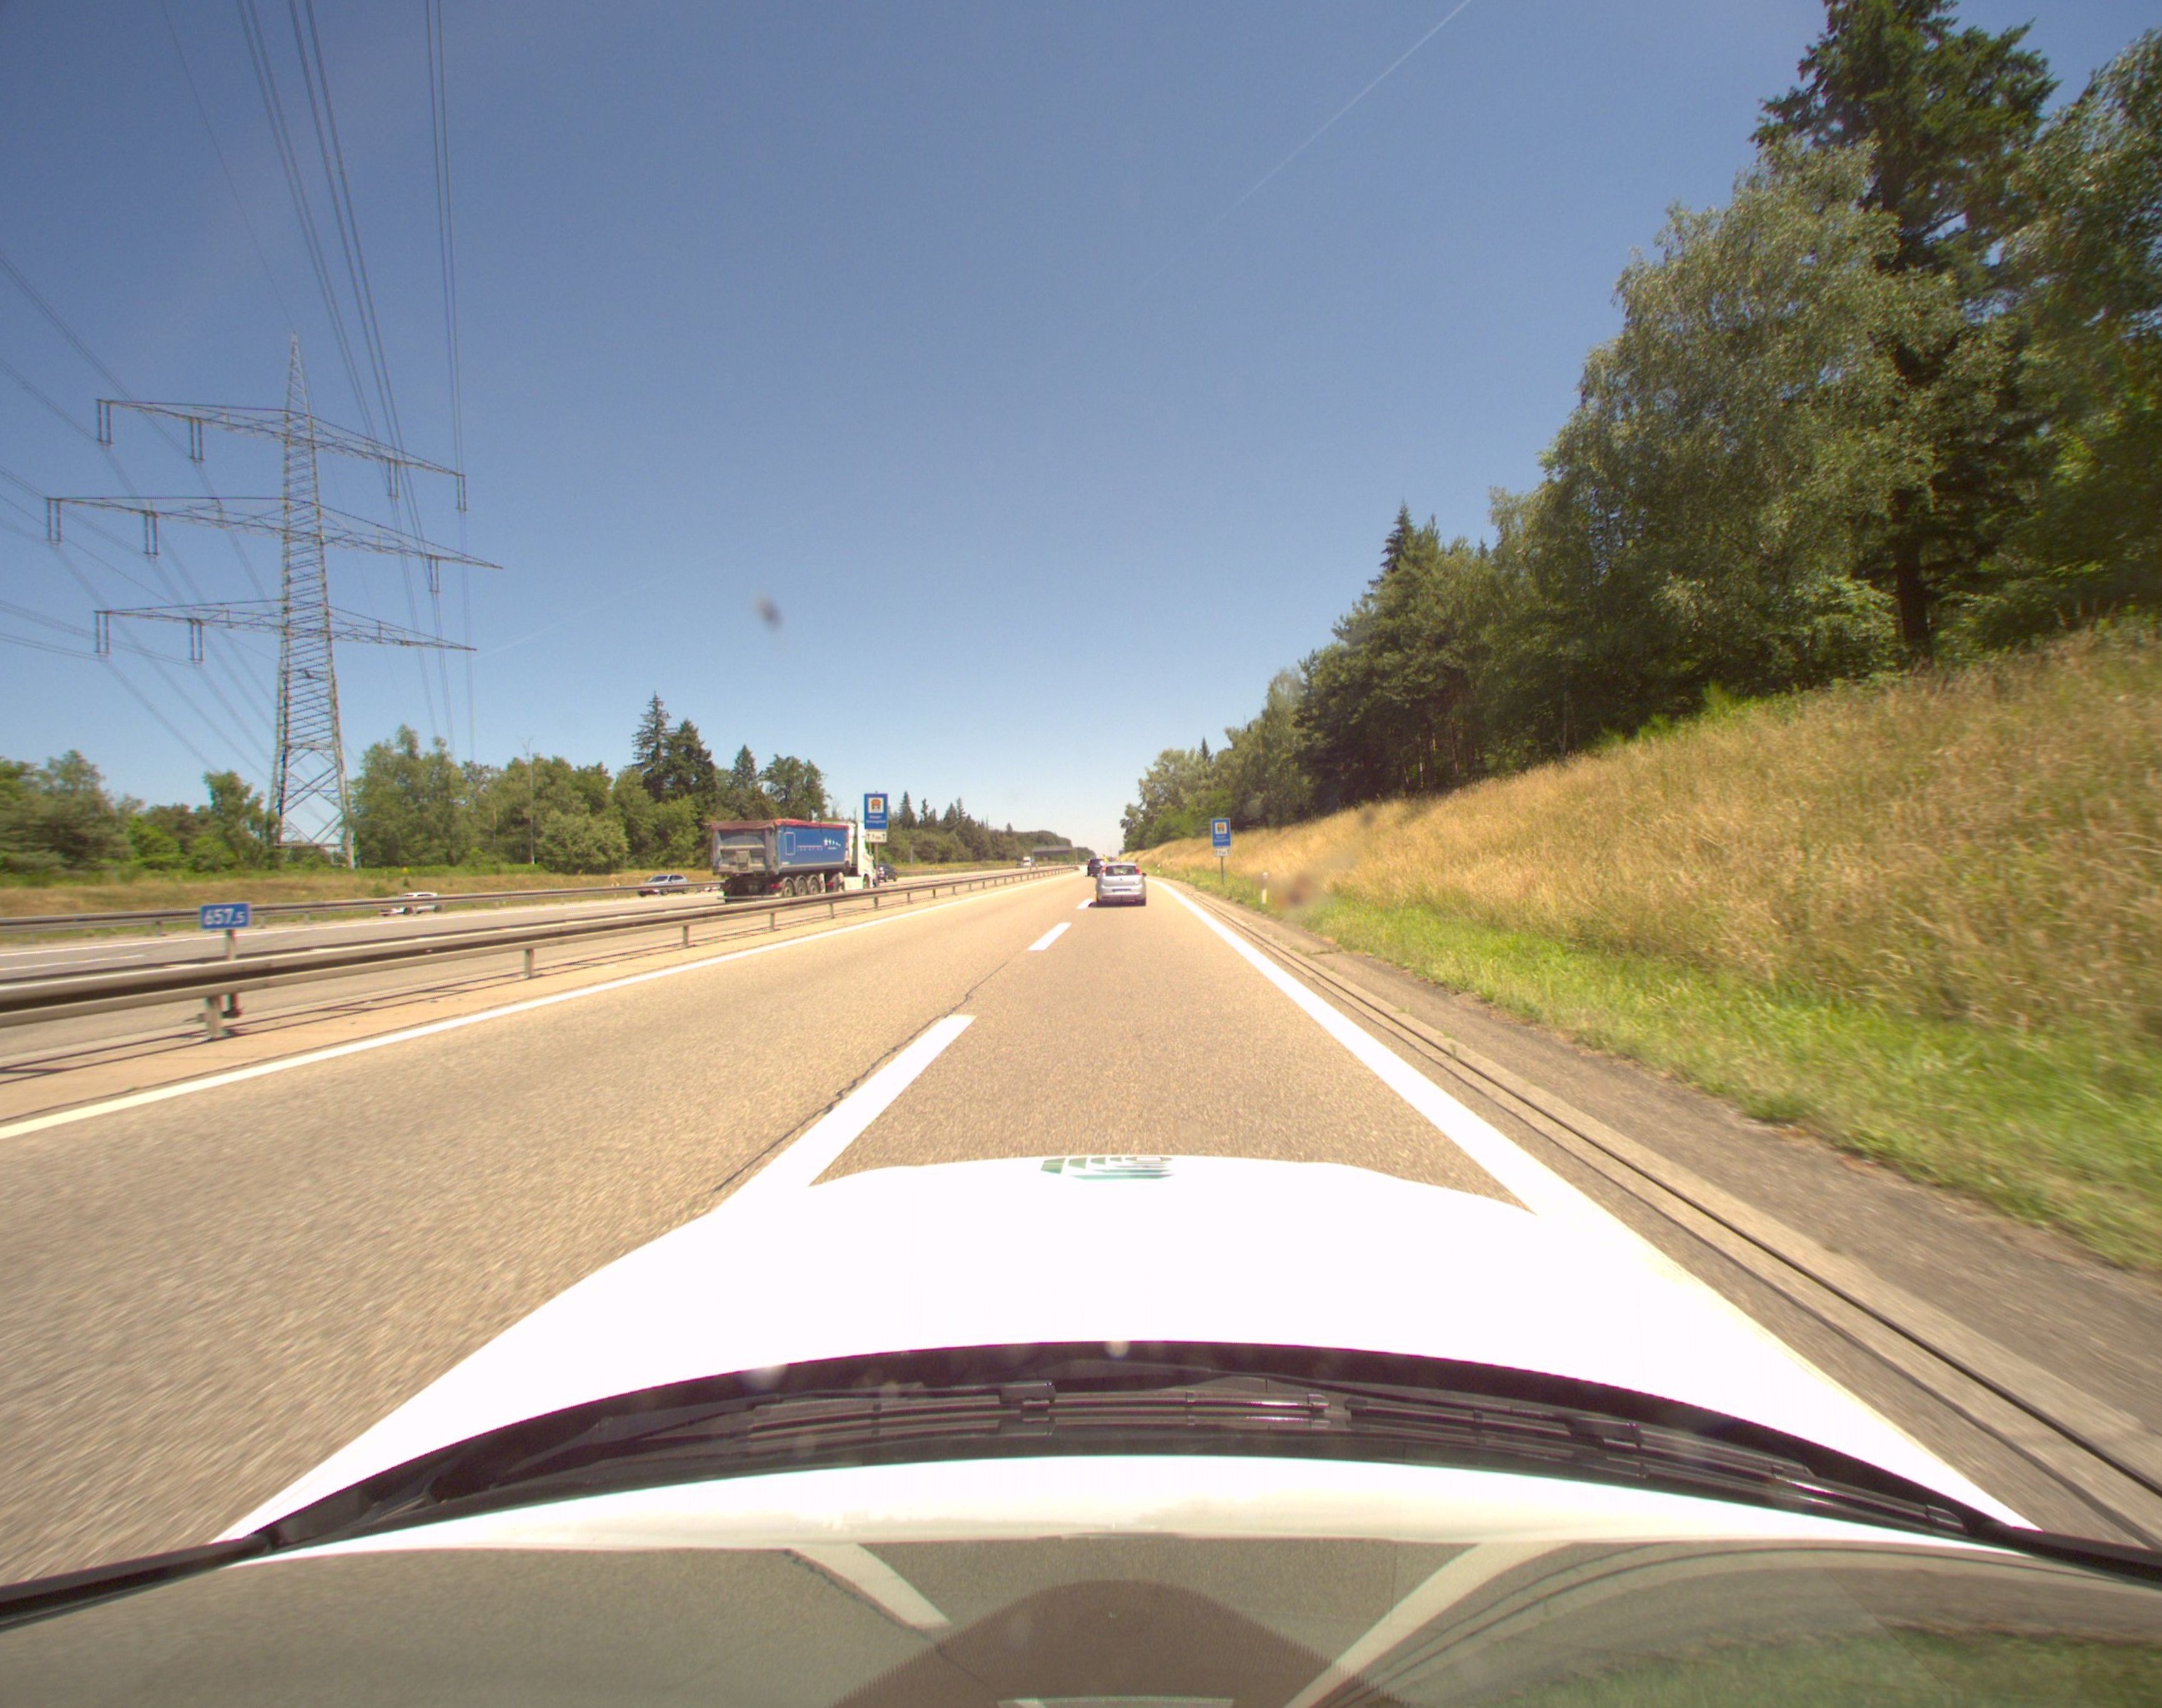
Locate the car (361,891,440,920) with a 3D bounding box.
[{"bbox_3d":[-46.819,3.498,56.158,1.986,1.783,4.001,-2,-1,2],"label":"car"}]

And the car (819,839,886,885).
[{"bbox_3d":[-15.459,0.603,55.578,2.623,2.897,6.475,-2,-2,1],"label":"car"}]

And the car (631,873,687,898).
[{"bbox_3d":[-31.813,2.329,61.533,1.986,1.783,4.001,-2,-1,2],"label":"car"}]

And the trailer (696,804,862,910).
[{"bbox_3d":[-12.469,0.102,34.943,2.759,3.807,9.895,-2,0,4],"label":"trailer"}]

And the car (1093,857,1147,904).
[{"bbox_3d":[1.354,0.894,27.748,1.699,1.482,3.400,-1,-2,3],"label":"car"}]

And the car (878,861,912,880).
[{"bbox_3d":[-16.534,1.478,72.694,1.986,1.618,4.000,-2,-2,1],"label":"car"}]

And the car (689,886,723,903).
[{"bbox_3d":[-45.269,4.865,98.325,1.985,1.783,4.004,-2,-1,4],"label":"car"}]

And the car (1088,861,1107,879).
[{"bbox_3d":[1.603,1.598,79.719,1.701,1.676,3.397,-2,-2,0],"label":"car"}]

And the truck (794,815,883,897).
[{"bbox_3d":[-12.070,0.085,40.965,2.744,3.807,4.626,-2,0,4],"label":"truck"}]
